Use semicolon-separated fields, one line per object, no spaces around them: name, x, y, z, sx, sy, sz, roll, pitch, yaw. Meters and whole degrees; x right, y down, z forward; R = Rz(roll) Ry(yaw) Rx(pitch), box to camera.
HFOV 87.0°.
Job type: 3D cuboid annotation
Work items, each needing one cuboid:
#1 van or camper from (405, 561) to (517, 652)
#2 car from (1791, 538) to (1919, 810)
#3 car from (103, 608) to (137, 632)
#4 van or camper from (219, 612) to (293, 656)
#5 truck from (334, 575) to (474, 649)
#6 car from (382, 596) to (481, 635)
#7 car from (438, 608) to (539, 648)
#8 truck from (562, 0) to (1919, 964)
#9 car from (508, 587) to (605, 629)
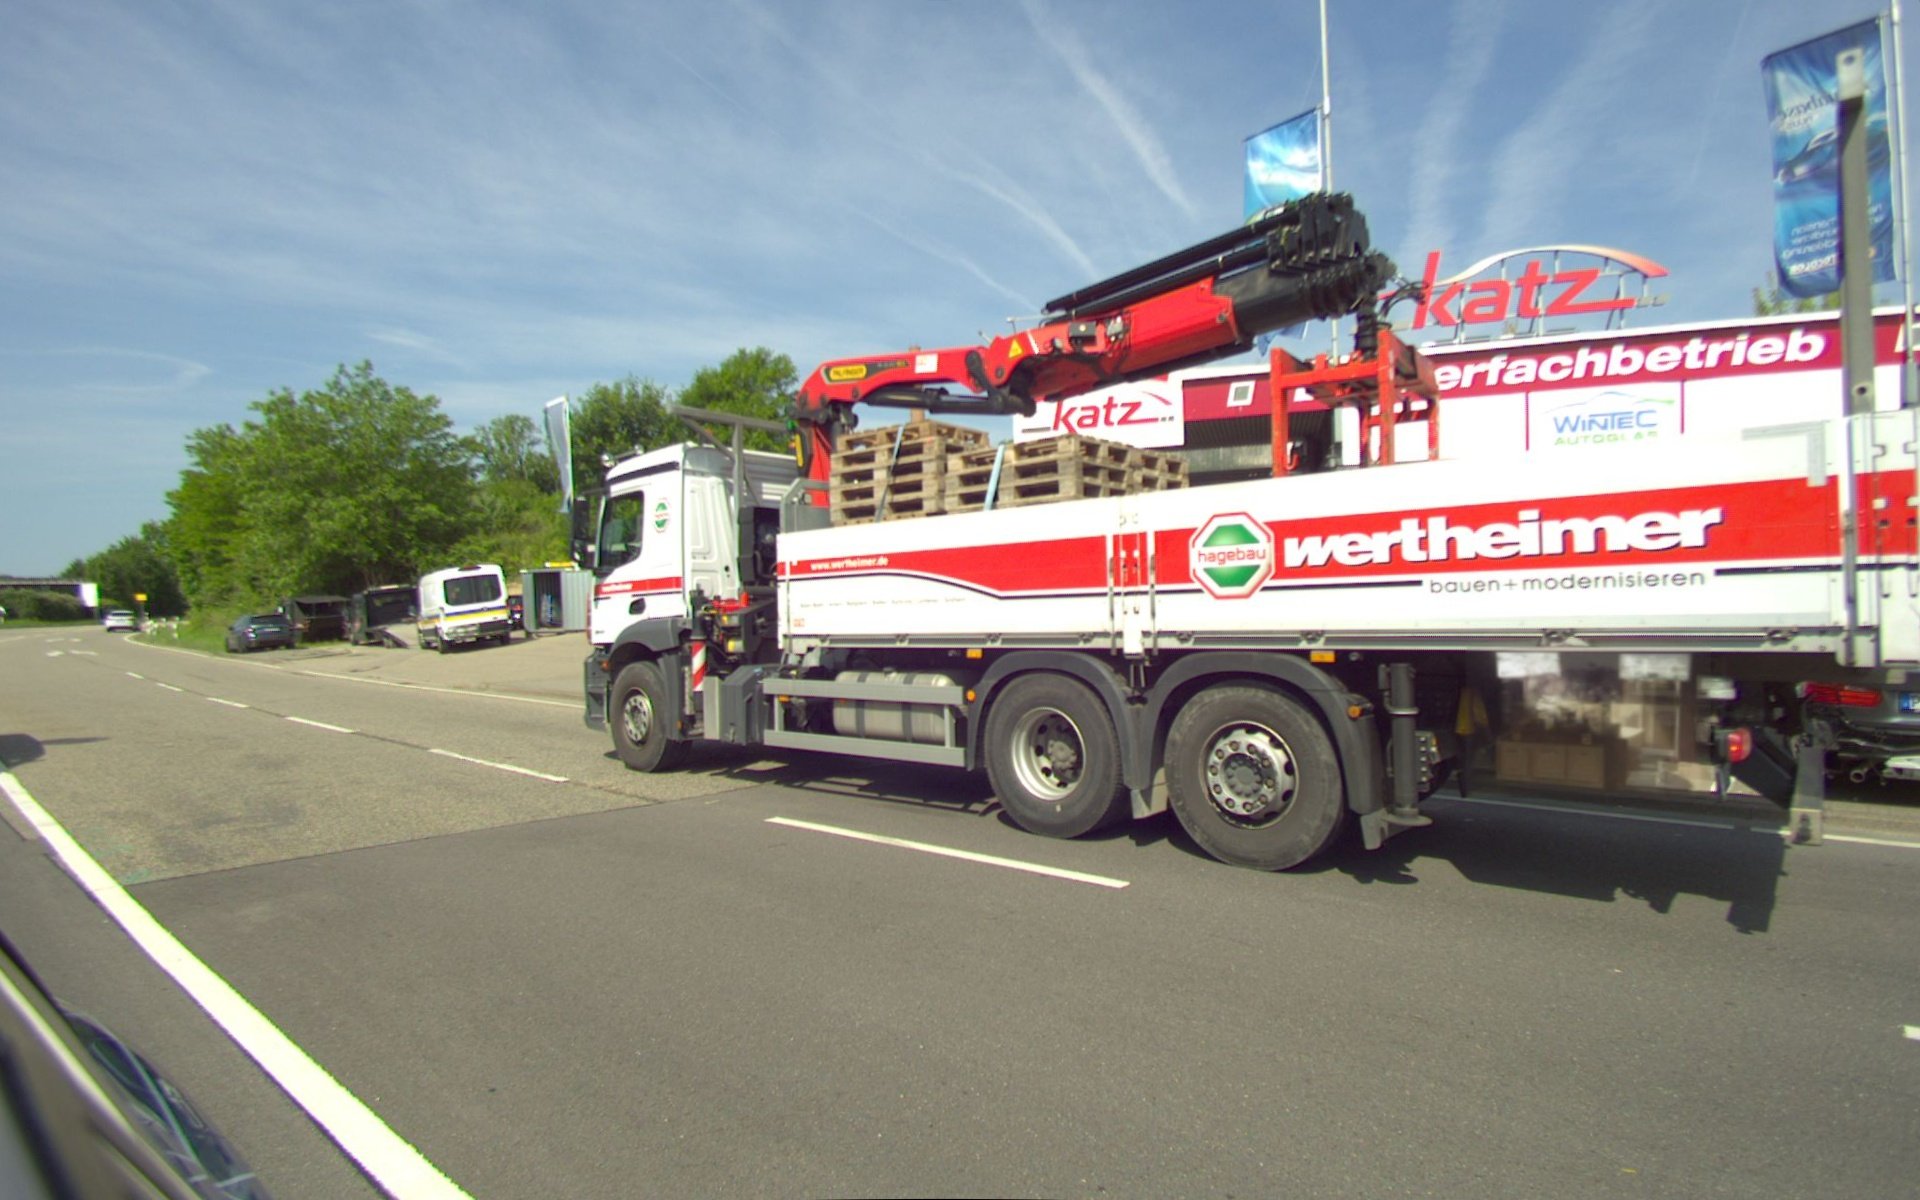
van or camper;-16.114;0.180;32.491;2.126;2.517;5.965;-7;4;-35
car;7.503;0.387;7.607;1.790;1.536;3.674;-2;4;38
car;-63.773;1.494;76.895;1.911;1.687;4.007;-3;2;-39
van or camper;-27.794;1.297;39.890;1.621;1.535;4.470;-4;2;-44
truck;-21.299;0.443;38.449;2.304;2.313;8.810;-9;5;-43
car;-23.290;0.668;44.713;1.705;1.522;3.645;-2;1;22
car;-20.034;1.181;43.129;1.728;1.480;3.643;-2;1;23
truck;0.841;-0.714;7.948;10.643;4.241;2.925;-2;-1;42
car;-16.320;0.294;41.090;1.725;1.541;3.650;-2;1;18
